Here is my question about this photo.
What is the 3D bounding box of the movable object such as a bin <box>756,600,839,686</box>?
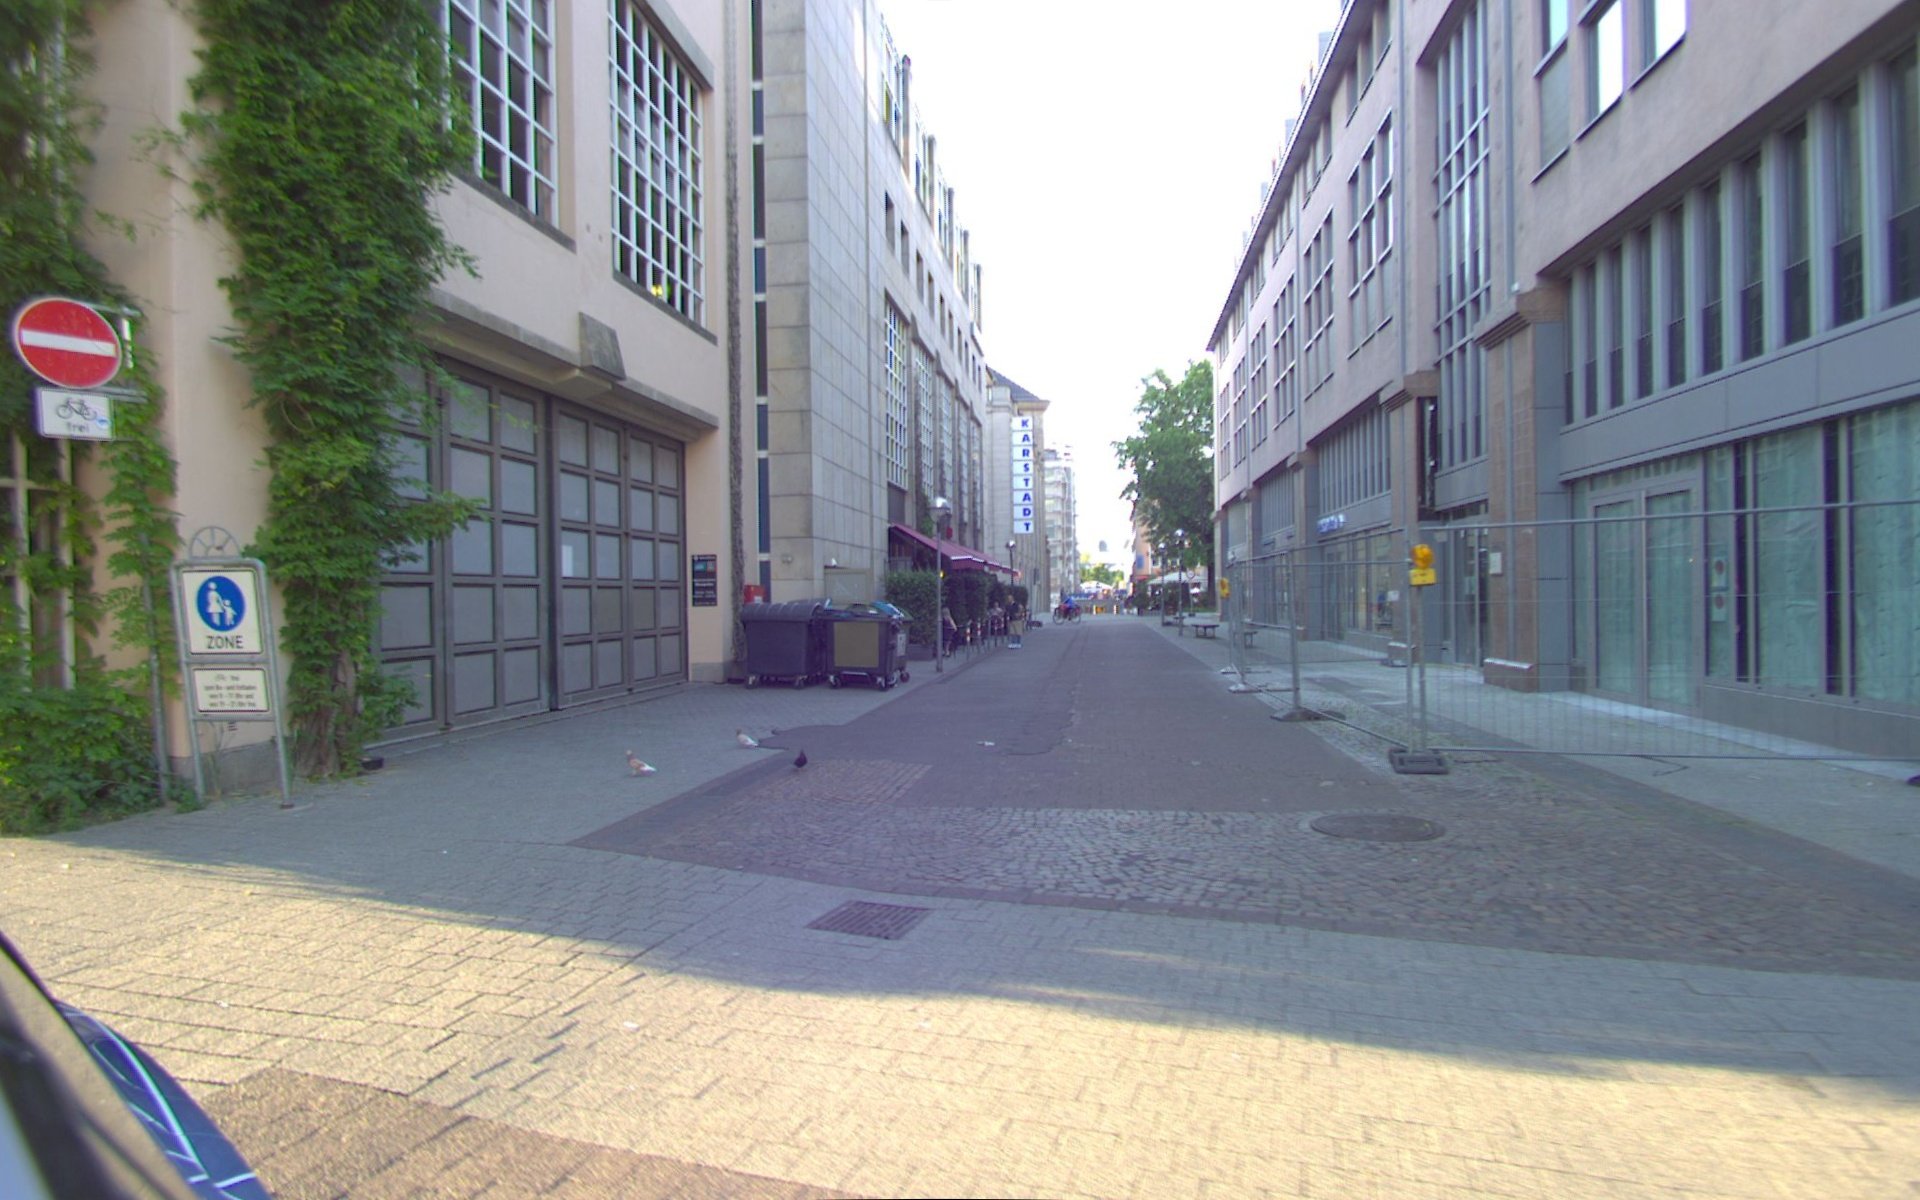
[{"bbox_3d":[-2.929,0.752,18.366,1.217,1.499,1.166,0,0,6],"label":"movable object such as a bin"}]

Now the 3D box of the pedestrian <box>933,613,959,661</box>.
[{"bbox_3d":[-0.365,0.936,26.064,0.582,1.210,0.631,-1,0,7],"label":"pedestrian"}]

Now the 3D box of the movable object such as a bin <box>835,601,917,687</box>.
[{"bbox_3d":[-1.526,0.773,18.555,1.262,1.478,1.166,2,0,6],"label":"movable object such as a bin"}]

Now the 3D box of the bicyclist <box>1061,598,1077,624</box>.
[{"bbox_3d":[5.924,0.596,55.049,0.632,1.419,0.581,-1,-1,42],"label":"bicyclist"}]

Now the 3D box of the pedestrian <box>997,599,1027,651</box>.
[{"bbox_3d":[1.618,0.770,31.525,0.694,1.599,0.714,-1,-1,28],"label":"pedestrian"}]

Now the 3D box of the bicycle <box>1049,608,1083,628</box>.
[{"bbox_3d":[5.782,0.962,55.200,1.949,1.059,0.536,-1,-1,43],"label":"bicycle"}]

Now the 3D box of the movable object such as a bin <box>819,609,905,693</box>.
[{"bbox_3d":[-1.651,0.842,17.283,1.217,1.339,1.166,2,0,6],"label":"movable object such as a bin"}]

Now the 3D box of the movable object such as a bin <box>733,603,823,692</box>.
[{"bbox_3d":[-3.054,0.778,17.124,1.217,1.448,1.166,0,0,6],"label":"movable object such as a bin"}]

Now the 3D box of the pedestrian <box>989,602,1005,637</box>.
[{"bbox_3d":[1.525,0.786,41.694,0.582,1.419,0.631,-1,0,7],"label":"pedestrian"}]
